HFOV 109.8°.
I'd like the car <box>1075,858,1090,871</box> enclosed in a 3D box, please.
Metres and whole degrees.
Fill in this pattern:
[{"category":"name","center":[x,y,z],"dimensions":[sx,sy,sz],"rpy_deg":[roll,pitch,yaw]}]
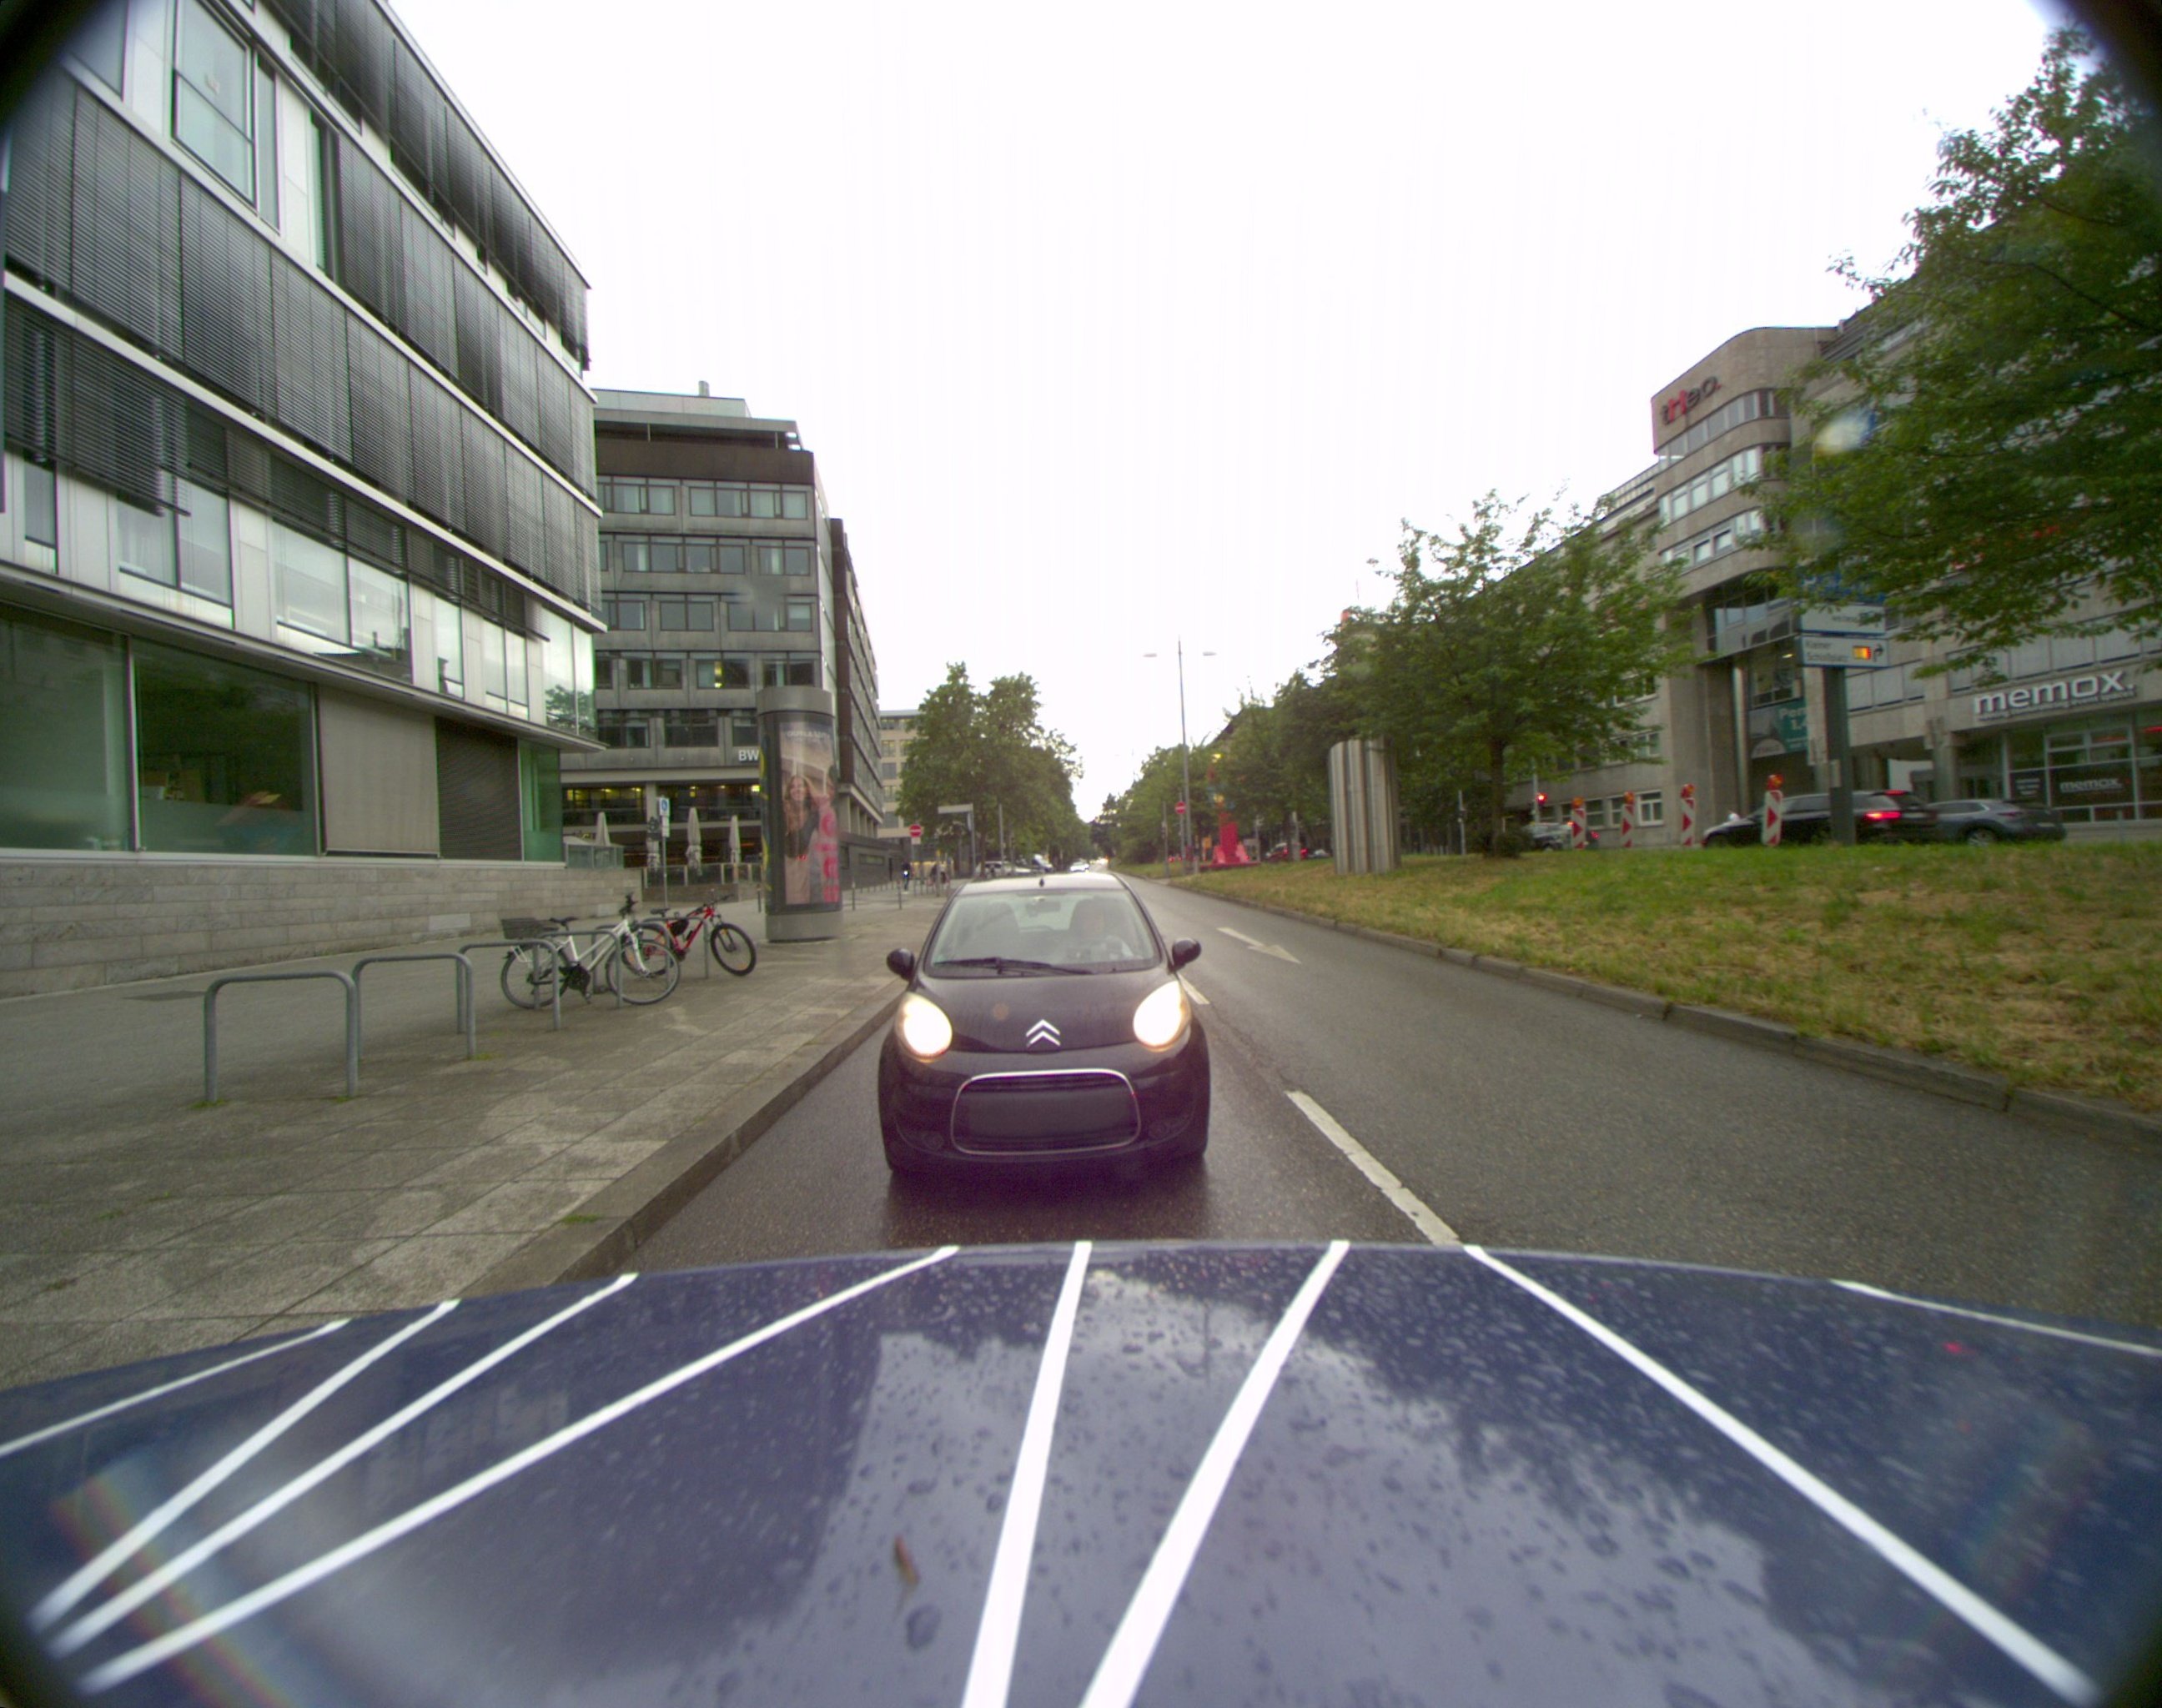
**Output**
[{"category":"car","center":[0.166,1.464,108.525],"dimensions":[1.791,1.736,4.574],"rpy_deg":[-2,0,-3]}]

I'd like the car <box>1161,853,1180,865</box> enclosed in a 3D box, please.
[{"category":"car","center":[13.187,0.754,111.721],"dimensions":[1.951,1.690,3.999],"rpy_deg":[-3,0,-4]}]

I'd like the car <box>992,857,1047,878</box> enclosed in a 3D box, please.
[{"category":"car","center":[-5.367,1.194,66.367],"dimensions":[4.381,1.528,1.919],"rpy_deg":[-4,0,27]}]

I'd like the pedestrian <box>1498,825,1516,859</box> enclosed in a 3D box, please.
[{"category":"pedestrian","center":[23.116,-0.638,41.239],"dimensions":[0.529,1.777,0.721],"rpy_deg":[-3,0,1]}]

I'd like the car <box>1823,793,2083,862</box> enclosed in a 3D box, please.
[{"category":"car","center":[24.838,-0.663,21.990],"dimensions":[1.867,1.715,4.791],"rpy_deg":[-2,0,-3]}]

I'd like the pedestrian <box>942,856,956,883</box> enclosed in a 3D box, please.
[{"category":"pedestrian","center":[-10.431,1.231,60.185],"dimensions":[0.852,2.027,0.753],"rpy_deg":[-3,0,1]}]

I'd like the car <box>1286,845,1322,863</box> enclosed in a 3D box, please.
[{"category":"car","center":[21.084,-0.005,72.094],"dimensions":[1.867,1.612,4.467],"rpy_deg":[-2,0,-3]}]

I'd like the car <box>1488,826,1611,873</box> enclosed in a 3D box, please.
[{"category":"car","center":[17.392,-0.158,28.461],"dimensions":[1.810,1.477,3.998],"rpy_deg":[-5,0,-6]}]

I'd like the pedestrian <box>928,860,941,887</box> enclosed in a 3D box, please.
[{"category":"pedestrian","center":[-9.355,1.263,48.556],"dimensions":[0.721,1.675,0.529],"rpy_deg":[-3,0,-6]}]

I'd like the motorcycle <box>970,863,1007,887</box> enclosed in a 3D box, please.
[{"category":"motorcycle","center":[-5.605,1.285,46.057],"dimensions":[2.087,1.349,0.677],"rpy_deg":[-3,0,7]}]

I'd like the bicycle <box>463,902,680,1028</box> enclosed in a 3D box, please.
[{"category":"bicycle","center":[-5.295,1.139,7.957],"dimensions":[1.840,1.190,0.660],"rpy_deg":[-1,0,4]}]

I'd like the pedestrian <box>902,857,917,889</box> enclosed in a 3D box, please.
[{"category":"pedestrian","center":[-10.583,1.165,46.813],"dimensions":[0.721,1.873,0.656],"rpy_deg":[-3,0,-6]}]

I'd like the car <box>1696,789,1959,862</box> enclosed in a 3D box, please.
[{"category":"car","center":[18.095,-0.610,18.778],"dimensions":[1.810,1.477,4.380],"rpy_deg":[-5,0,-9]}]

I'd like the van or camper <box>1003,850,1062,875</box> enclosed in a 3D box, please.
[{"category":"van or camper","center":[-5.515,1.008,86.361],"dimensions":[6.250,2.432,2.319],"rpy_deg":[-4,0,30]}]

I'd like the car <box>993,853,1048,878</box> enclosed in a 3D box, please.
[{"category":"car","center":[-5.531,1.054,69.249],"dimensions":[4.507,1.981,1.925],"rpy_deg":[-4,0,29]}]

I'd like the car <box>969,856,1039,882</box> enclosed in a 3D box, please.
[{"category":"car","center":[-5.638,1.098,55.601],"dimensions":[4.792,1.640,1.920],"rpy_deg":[-4,0,30]}]

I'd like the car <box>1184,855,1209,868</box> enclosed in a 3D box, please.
[{"category":"car","center":[14.031,0.871,92.571],"dimensions":[1.873,1.466,3.997],"rpy_deg":[-3,0,-8]}]

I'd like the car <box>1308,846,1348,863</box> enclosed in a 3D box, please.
[{"category":"car","center":[21.685,0.050,66.908],"dimensions":[1.867,1.421,4.565],"rpy_deg":[-2,0,-3]}]

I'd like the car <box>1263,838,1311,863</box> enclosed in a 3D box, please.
[{"category":"car","center":[15.075,-0.233,55.869],"dimensions":[1.730,1.717,4.579],"rpy_deg":[-3,0,-8]}]

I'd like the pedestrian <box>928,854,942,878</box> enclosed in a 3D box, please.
[{"category":"pedestrian","center":[-11.547,0.943,60.086],"dimensions":[0.803,1.857,0.898],"rpy_deg":[-3,0,3]}]

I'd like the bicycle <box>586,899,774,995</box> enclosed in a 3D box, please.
[{"category":"bicycle","center":[-5.134,1.178,9.809],"dimensions":[1.988,1.097,0.808],"rpy_deg":[-2,0,4]}]

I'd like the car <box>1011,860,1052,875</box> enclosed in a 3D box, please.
[{"category":"car","center":[-5.379,1.440,82.696],"dimensions":[4.052,1.415,1.711],"rpy_deg":[-4,0,29]}]

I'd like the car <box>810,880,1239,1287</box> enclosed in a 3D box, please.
[{"category":"car","center":[-0.256,0.975,4.940],"dimensions":[1.634,1.408,3.834],"rpy_deg":[-3,0,-1]}]

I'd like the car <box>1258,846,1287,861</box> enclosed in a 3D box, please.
[{"category":"car","center":[20.541,0.009,81.640],"dimensions":[1.791,1.478,4.574],"rpy_deg":[-2,0,-3]}]

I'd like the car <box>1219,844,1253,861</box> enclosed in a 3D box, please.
[{"category":"car","center":[14.800,-0.103,72.792],"dimensions":[1.825,1.466,4.190],"rpy_deg":[-3,0,-8]}]
